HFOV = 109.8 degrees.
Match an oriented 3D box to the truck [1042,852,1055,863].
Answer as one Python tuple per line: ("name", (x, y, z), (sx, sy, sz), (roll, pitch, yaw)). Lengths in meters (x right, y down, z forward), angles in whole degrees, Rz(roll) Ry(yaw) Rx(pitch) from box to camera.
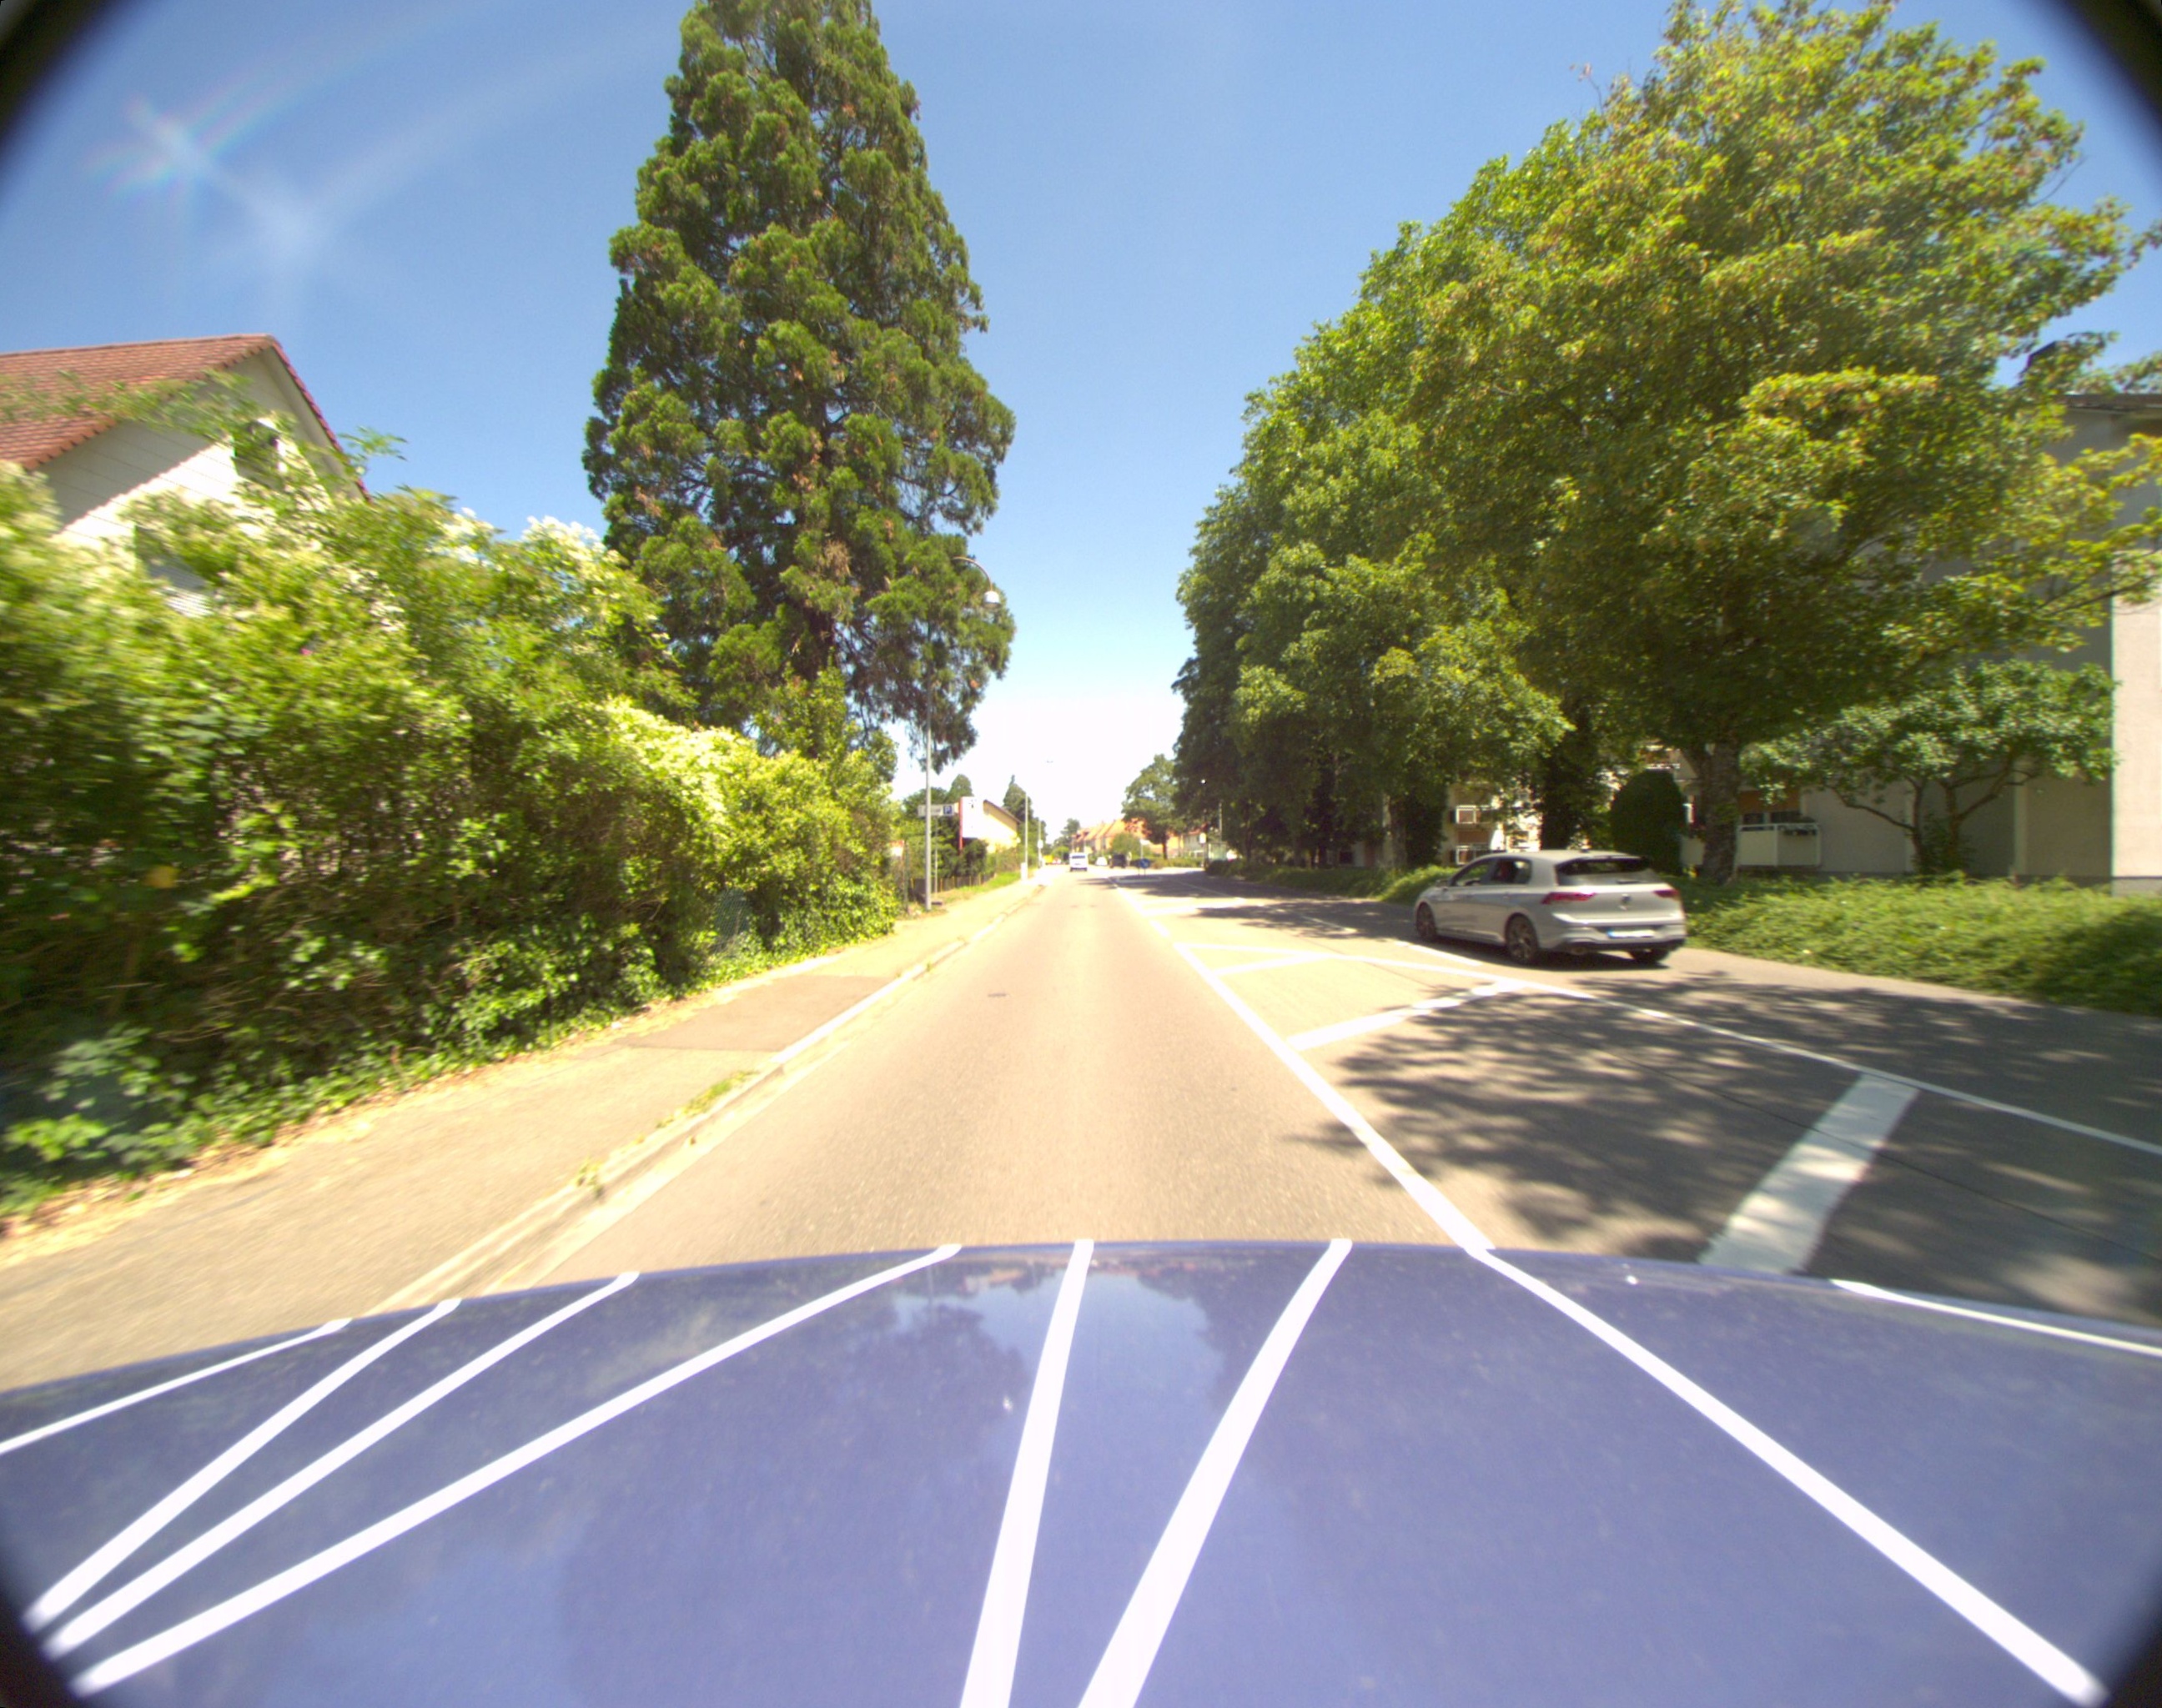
("truck", (-7.509, 0.916, 175.104), (2.020, 2.295, 6.171), (-4, 0, -11))

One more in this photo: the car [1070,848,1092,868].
("car", (-0.066, 0.464, 84.062), (1.999, 2.001, 4.385), (-2, -1, -5))

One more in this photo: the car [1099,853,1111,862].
("car", (4.155, 0.595, 130.790), (1.695, 1.451, 3.639), (-2, -1, -3))

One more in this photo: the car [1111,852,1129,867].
("car", (5.300, 0.746, 104.704), (1.999, 1.899, 4.988), (-2, 2, -2))

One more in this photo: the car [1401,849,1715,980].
("car", (6.249, 0.682, 10.627), (1.726, 1.419, 4.147), (-2, 0, -1))
